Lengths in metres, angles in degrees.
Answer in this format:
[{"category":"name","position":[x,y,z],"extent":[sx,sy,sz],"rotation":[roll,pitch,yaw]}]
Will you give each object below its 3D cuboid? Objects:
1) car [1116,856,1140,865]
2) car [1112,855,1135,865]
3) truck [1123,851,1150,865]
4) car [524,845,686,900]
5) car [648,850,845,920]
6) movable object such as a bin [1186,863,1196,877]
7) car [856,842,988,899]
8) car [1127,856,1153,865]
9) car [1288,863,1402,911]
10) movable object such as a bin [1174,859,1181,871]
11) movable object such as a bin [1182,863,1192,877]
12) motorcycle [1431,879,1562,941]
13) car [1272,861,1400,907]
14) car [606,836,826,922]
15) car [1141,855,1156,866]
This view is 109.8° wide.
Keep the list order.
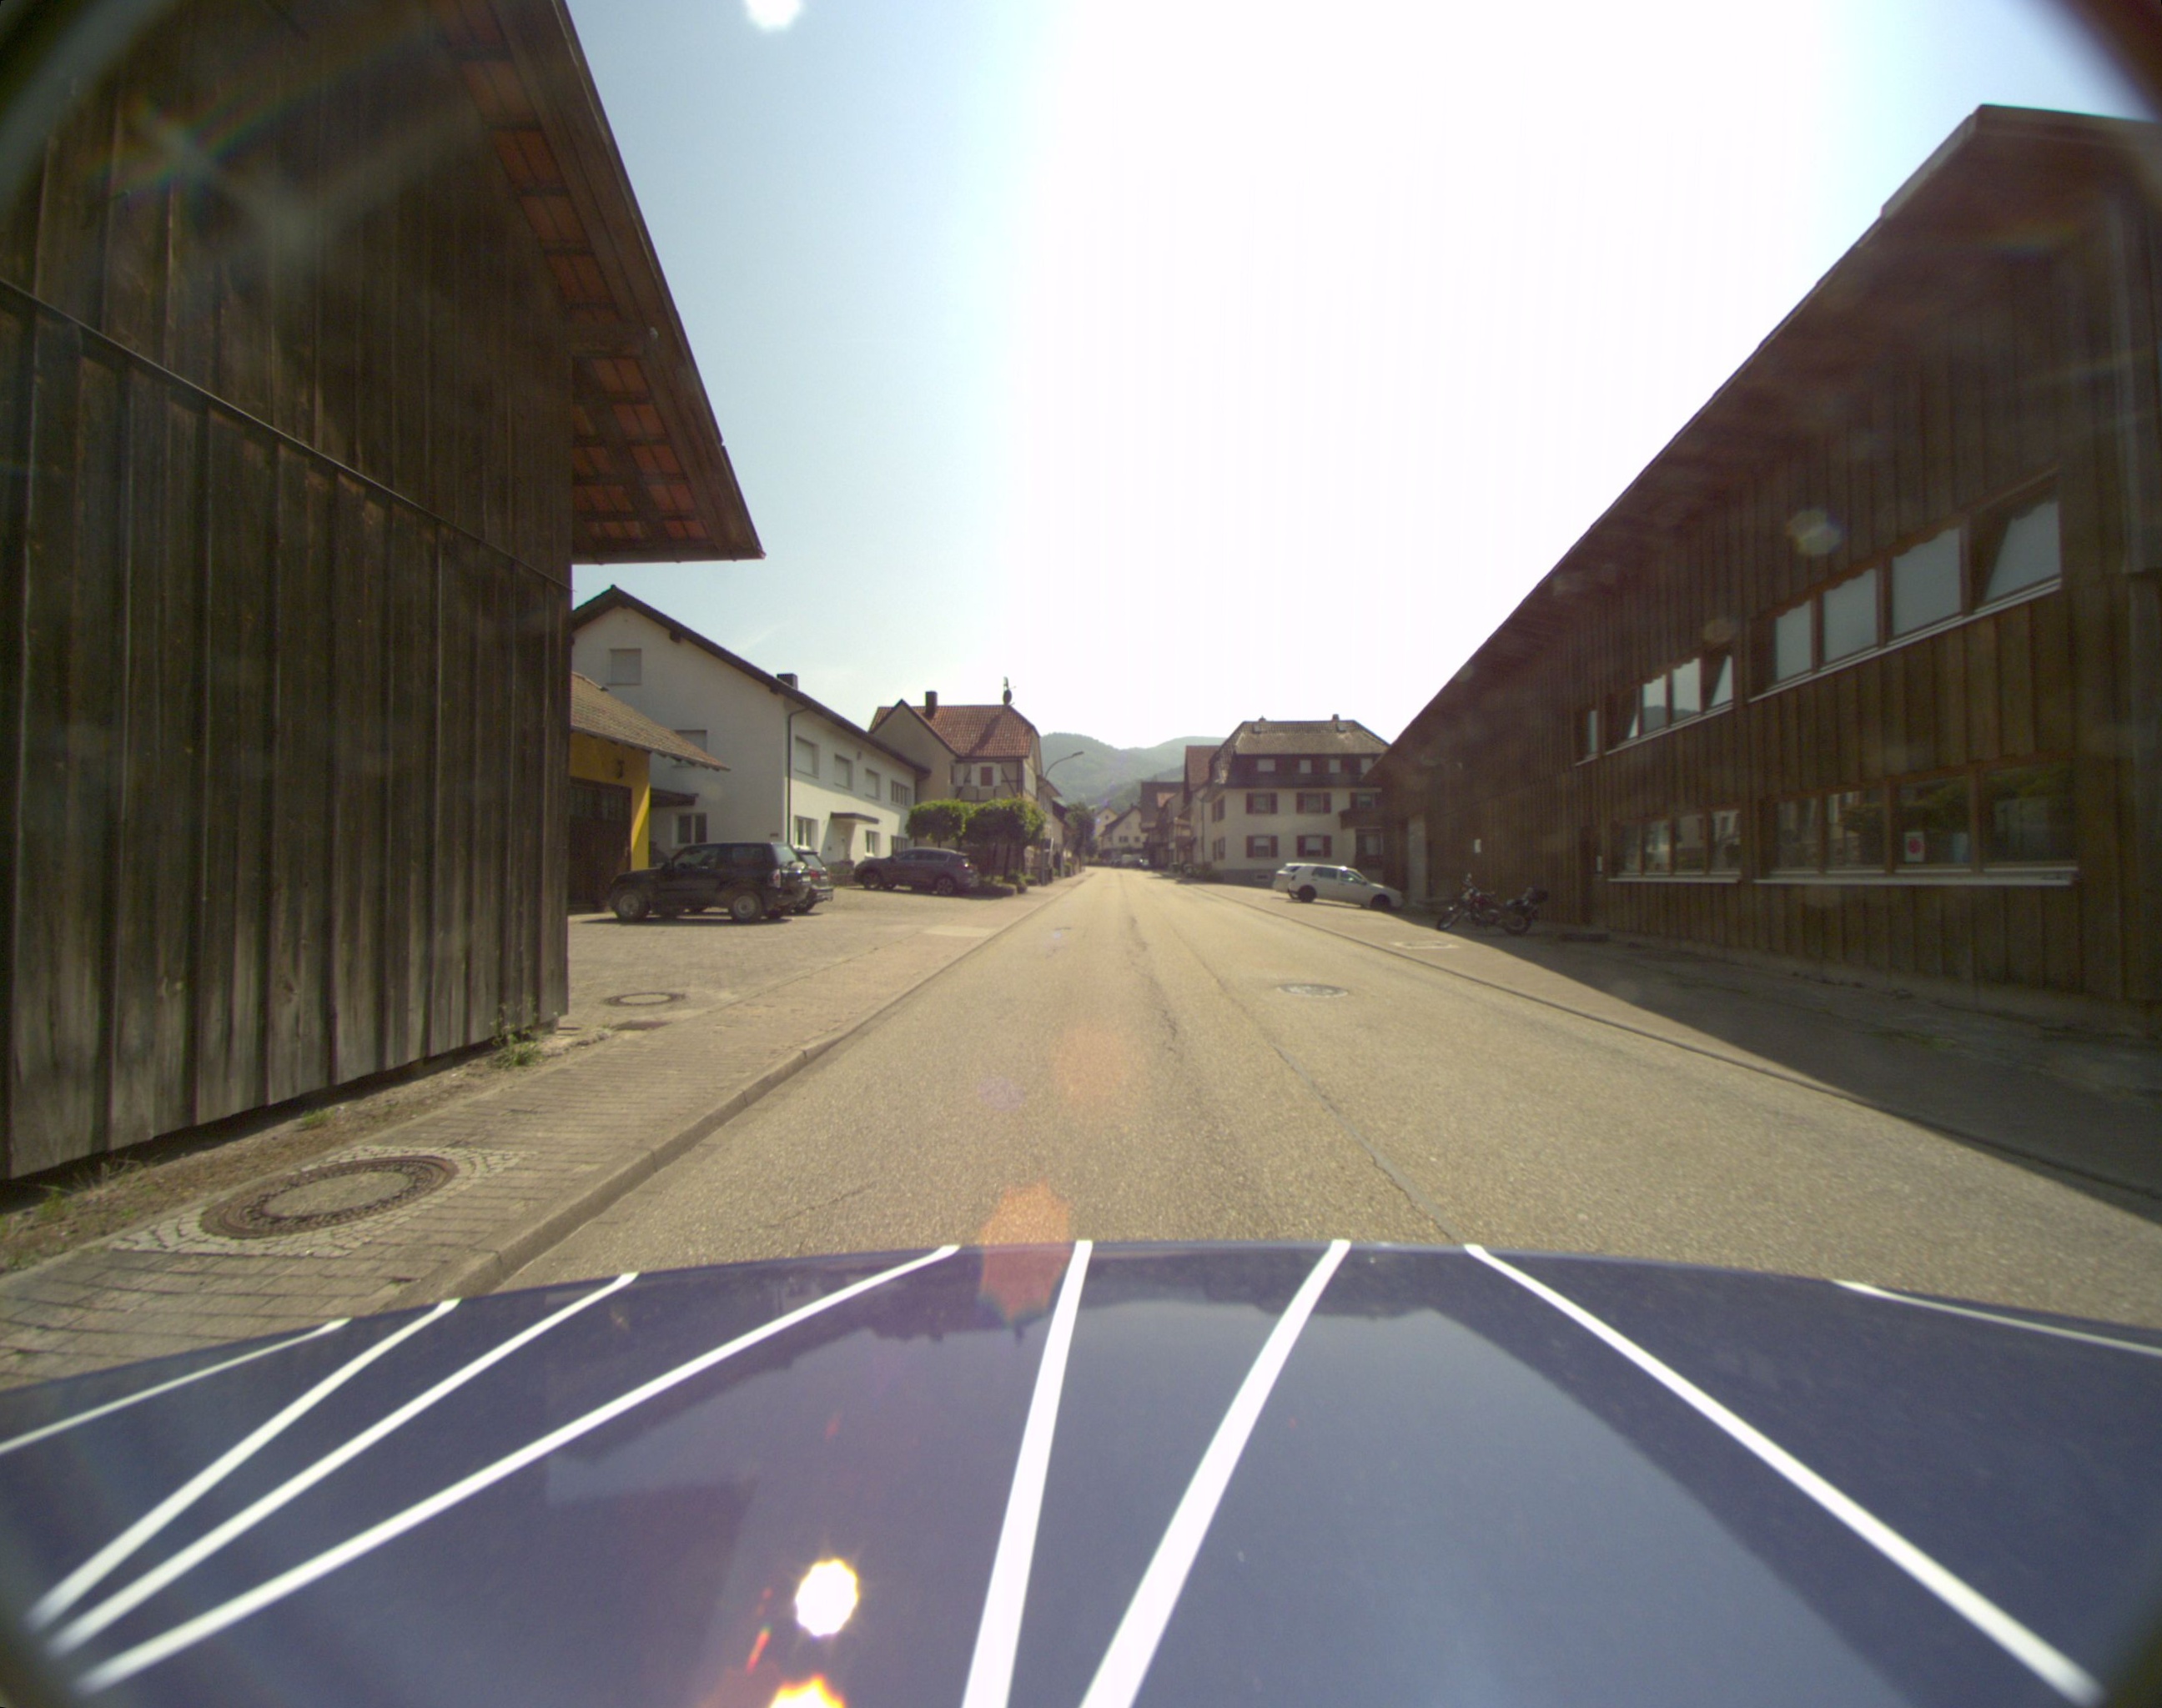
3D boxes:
[{"category":"car","position":[7.962,1.125,129.018],"extent":[3.998,1.444,1.627],"rotation":[1,0,-2]},{"category":"car","position":[7.368,1.076,132.304],"extent":[3.995,1.563,1.577],"rotation":[1,0,4]},{"category":"truck","position":[9.168,0.602,125.095],"extent":[4.177,2.253,1.999],"rotation":[-1,0,-3]},{"category":"car","position":[-15.188,0.577,24.397],"extent":[3.997,1.634,1.871],"rotation":[1,0,0]},{"category":"car","position":[-8.869,0.794,20.435],"extent":[4.430,1.749,1.952],"rotation":[1,0,0]},{"category":"movable object such as a bin","position":[8.609,1.248,59.309],"extent":[0.677,1.060,0.621],"rotation":[0,0,1]},{"category":"car","position":[-5.699,0.583,27.551],"extent":[4.229,1.677,1.777],"rotation":[4,1,6]},{"category":"car","position":[9.291,1.016,120.093],"extent":[4.105,1.494,1.754],"rotation":[0,0,1]},{"category":"car","position":[9.412,1.145,27.268],"extent":[3.662,1.377,1.713],"rotation":[4,1,18]},{"category":"movable object such as a bin","position":[10.135,1.149,79.805],"extent":[0.719,1.174,0.598],"rotation":[1,0,3]},{"category":"movable object such as a bin","position":[8.450,1.276,60.535],"extent":[0.677,1.060,0.653],"rotation":[0,0,1]},{"category":"motorcycle","position":[9.092,1.214,16.718],"extent":[2.412,1.257,0.744],"rotation":[0,0,13]},{"category":"car","position":[10.069,1.144,30.058],"extent":[4.431,1.466,1.928],"rotation":[4,1,28]},{"category":"car","position":[-8.314,0.544,17.596],"extent":[4.137,1.822,1.954],"rotation":[1,0,-1]},{"category":"car","position":[10.031,0.940,112.618],"extent":[1.774,1.544,4.285],"rotation":[-1,0,0]}]
